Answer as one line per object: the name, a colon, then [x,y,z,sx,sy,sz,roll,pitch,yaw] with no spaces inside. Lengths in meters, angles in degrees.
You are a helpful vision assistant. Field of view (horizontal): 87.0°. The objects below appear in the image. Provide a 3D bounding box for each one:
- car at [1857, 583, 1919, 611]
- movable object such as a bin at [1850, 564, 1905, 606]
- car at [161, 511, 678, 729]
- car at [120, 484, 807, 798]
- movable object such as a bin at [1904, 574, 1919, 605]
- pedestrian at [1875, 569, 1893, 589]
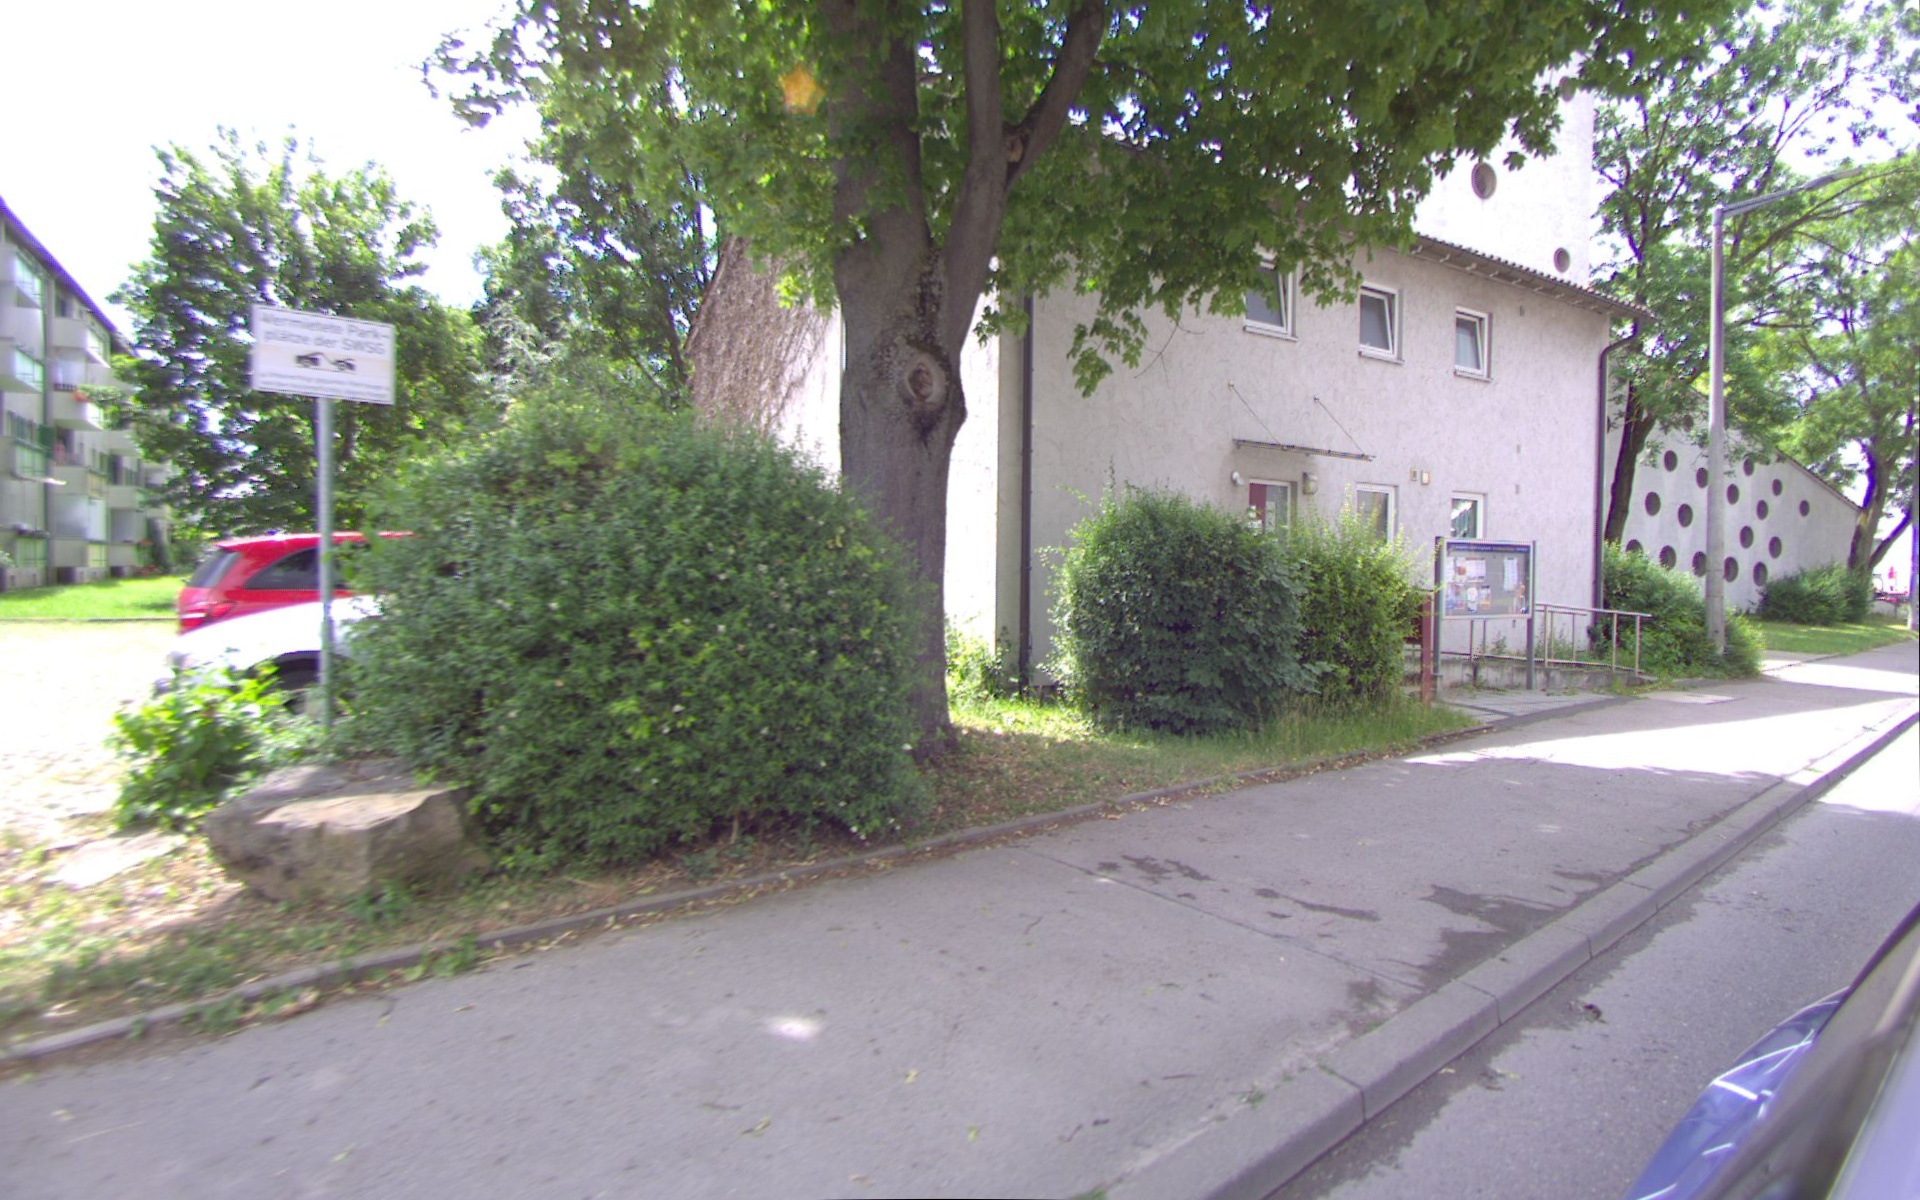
car: [56.076,-0.198,60.484,1.821,1.638,4.225,0,0,13]
movable object such as a bin: [58.257,-0.990,64.302,1.295,2.626,2.364,0,1,-2]
car: [-4.849,0.087,9.368,3.926,1.602,1.817,-1,3,-37]
car: [-3.278,0.156,7.198,3.922,1.669,1.820,0,3,-32]
movable object such as a bin: [64.786,-0.666,66.809,1.960,2.038,2.971,1,1,-4]
pedestrian: [57.911,-1.314,63.421,0.540,1.231,0.618,1,1,-3]
